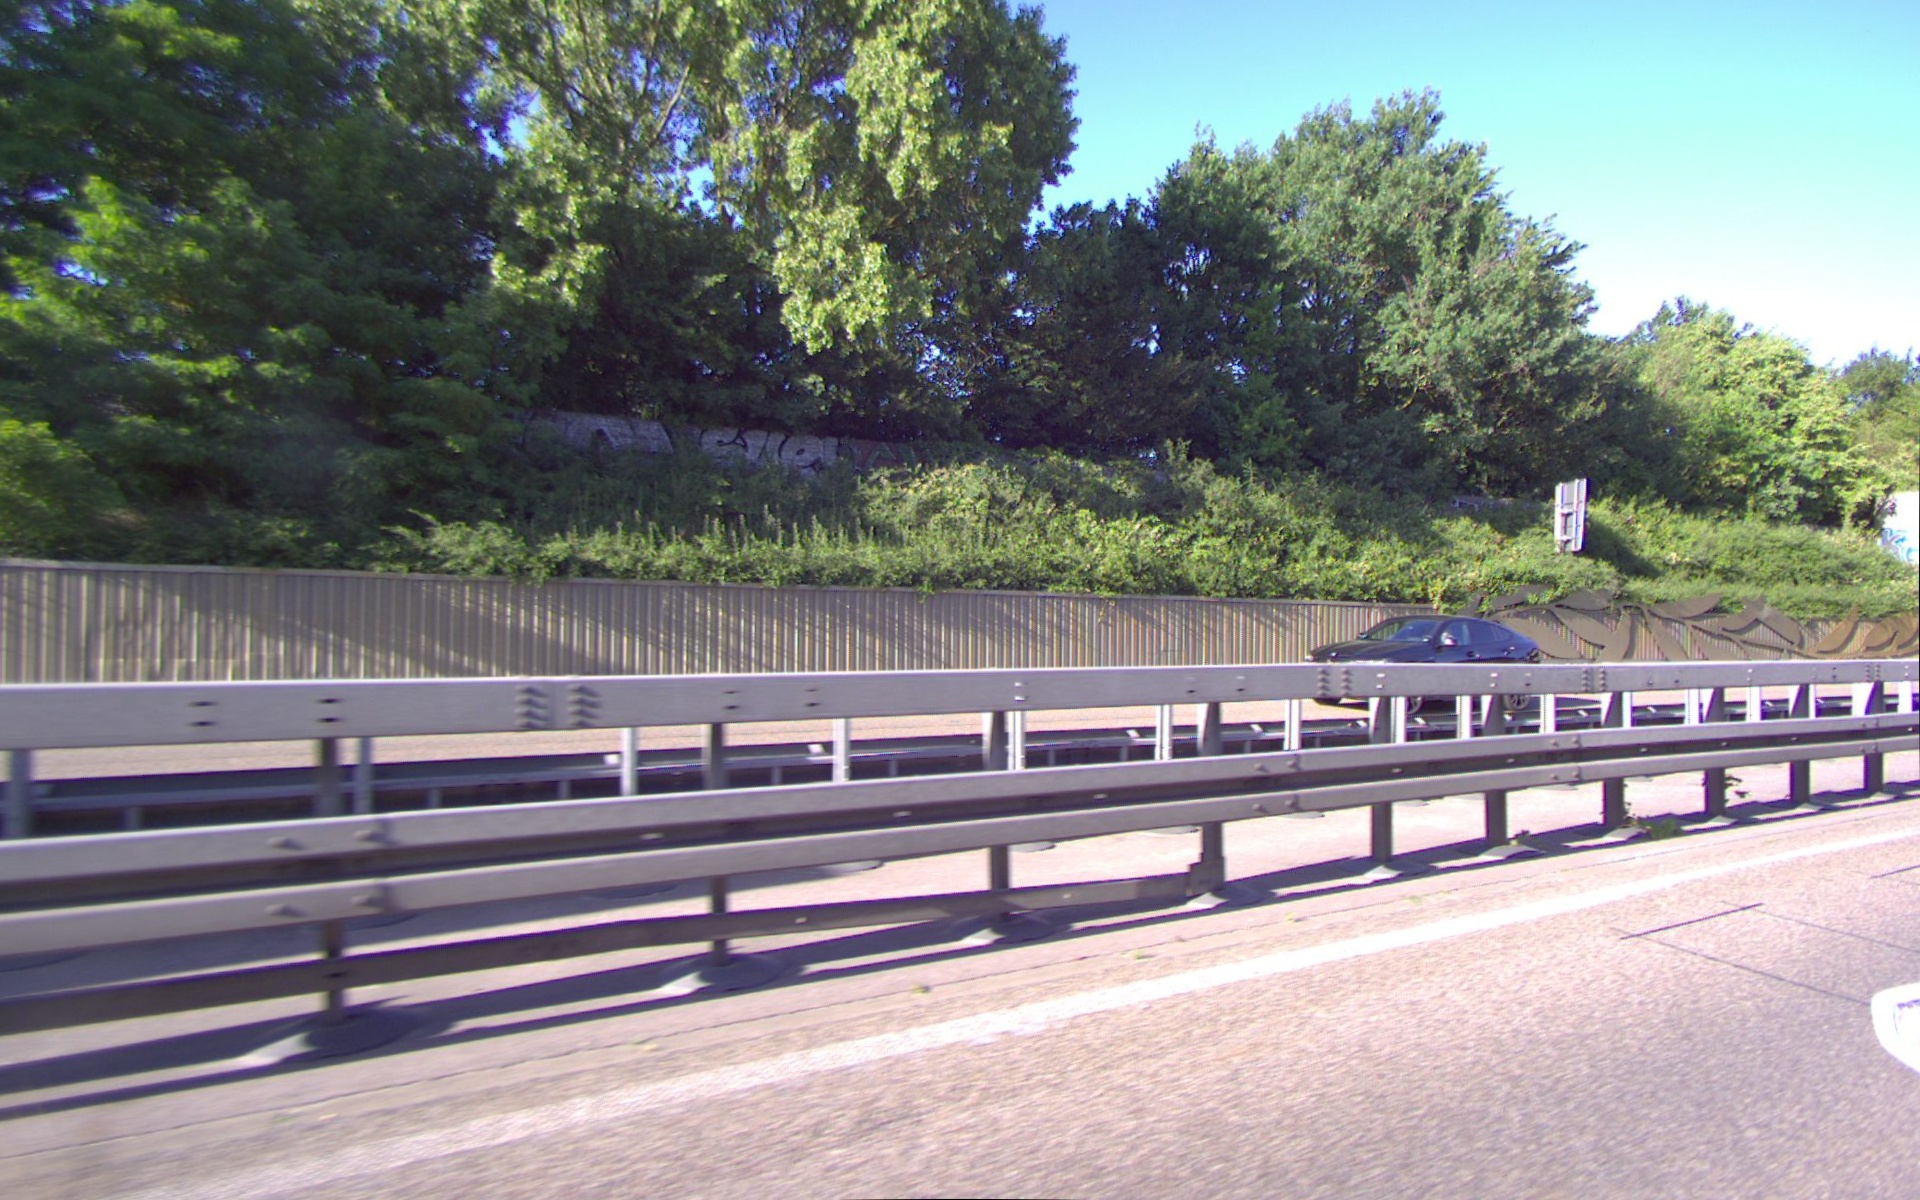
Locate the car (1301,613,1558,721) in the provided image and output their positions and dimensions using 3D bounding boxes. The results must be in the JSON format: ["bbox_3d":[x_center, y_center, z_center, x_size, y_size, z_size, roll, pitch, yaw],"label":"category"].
[{"bbox_3d":[8.602,1.119,18.310,4.801,1.698,1.661,0,1,-27],"label":"car"}]
